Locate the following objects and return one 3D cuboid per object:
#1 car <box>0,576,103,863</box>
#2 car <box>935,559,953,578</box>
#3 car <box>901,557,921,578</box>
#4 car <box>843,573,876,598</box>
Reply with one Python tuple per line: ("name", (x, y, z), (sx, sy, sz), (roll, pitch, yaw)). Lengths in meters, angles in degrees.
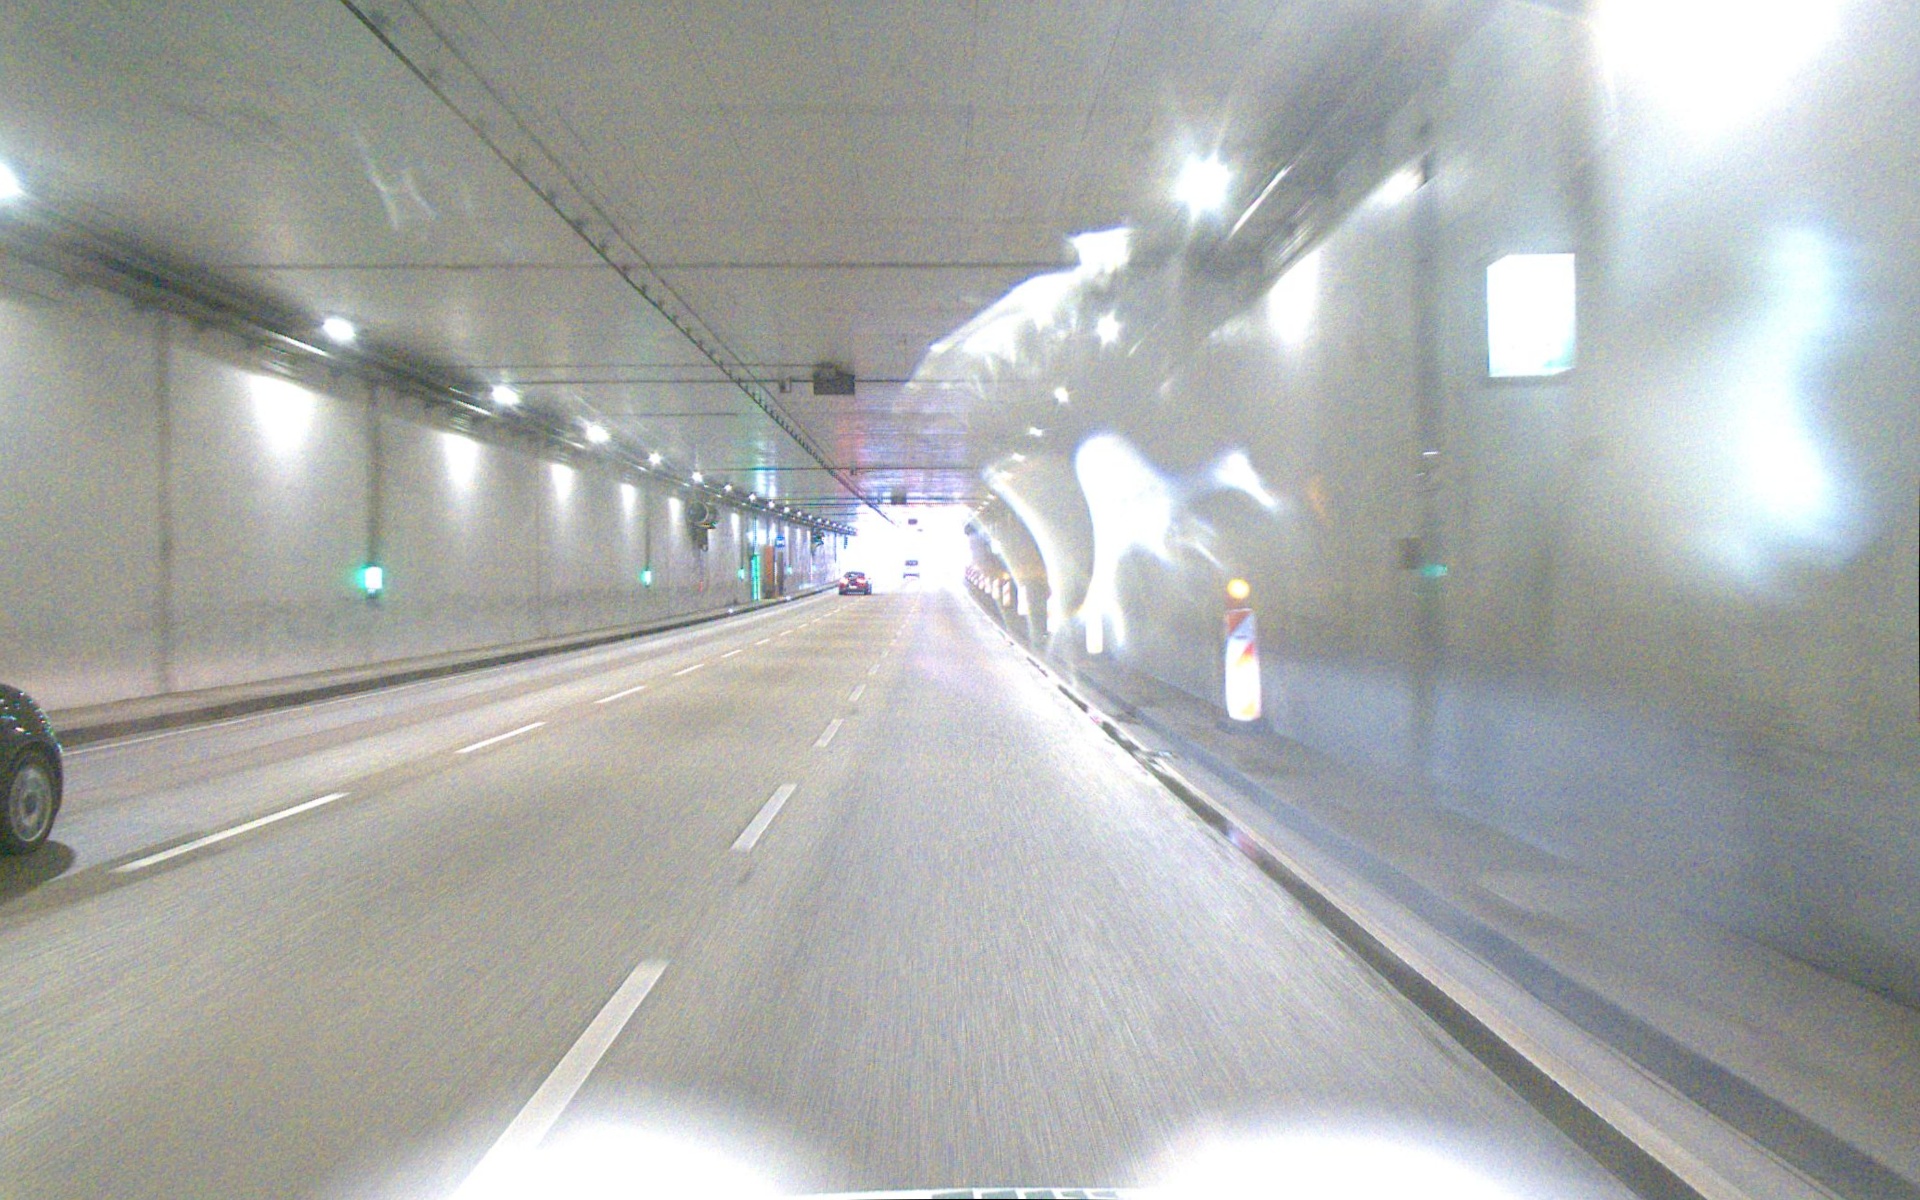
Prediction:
("car", (-5.764, 0.642, 7.850), (1.579, 1.479, 3.572), (0, 1, -1))
("car", (-1.758, -3.529, 184.993), (1.953, 2.049, 4.000), (0, 1, -1))
("car", (-5.006, -3.298, 168.926), (1.953, 2.049, 4.000), (0, 1, -1))
("car", (-6.278, -0.929, 103.017), (1.954, 1.473, 4.311), (1, 1, -5))
